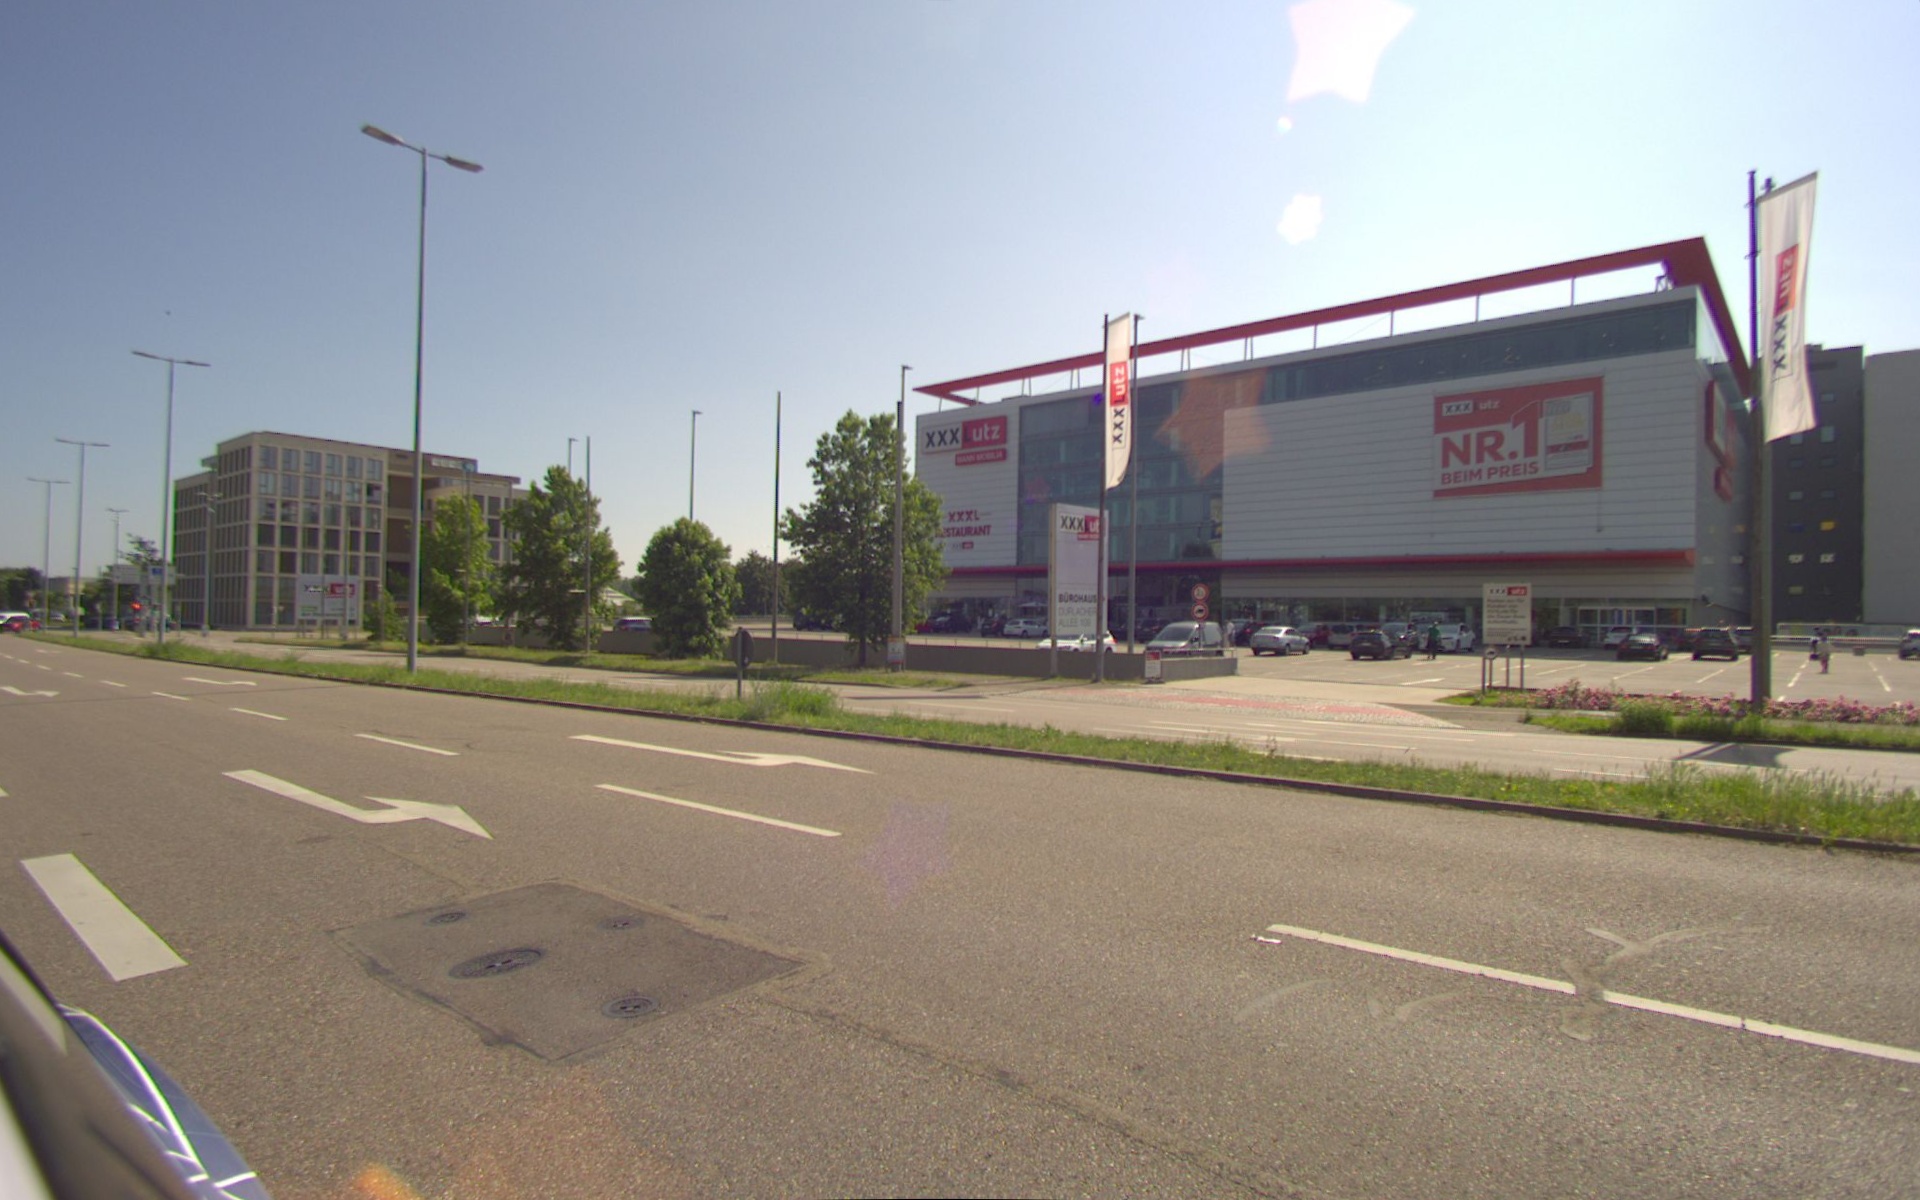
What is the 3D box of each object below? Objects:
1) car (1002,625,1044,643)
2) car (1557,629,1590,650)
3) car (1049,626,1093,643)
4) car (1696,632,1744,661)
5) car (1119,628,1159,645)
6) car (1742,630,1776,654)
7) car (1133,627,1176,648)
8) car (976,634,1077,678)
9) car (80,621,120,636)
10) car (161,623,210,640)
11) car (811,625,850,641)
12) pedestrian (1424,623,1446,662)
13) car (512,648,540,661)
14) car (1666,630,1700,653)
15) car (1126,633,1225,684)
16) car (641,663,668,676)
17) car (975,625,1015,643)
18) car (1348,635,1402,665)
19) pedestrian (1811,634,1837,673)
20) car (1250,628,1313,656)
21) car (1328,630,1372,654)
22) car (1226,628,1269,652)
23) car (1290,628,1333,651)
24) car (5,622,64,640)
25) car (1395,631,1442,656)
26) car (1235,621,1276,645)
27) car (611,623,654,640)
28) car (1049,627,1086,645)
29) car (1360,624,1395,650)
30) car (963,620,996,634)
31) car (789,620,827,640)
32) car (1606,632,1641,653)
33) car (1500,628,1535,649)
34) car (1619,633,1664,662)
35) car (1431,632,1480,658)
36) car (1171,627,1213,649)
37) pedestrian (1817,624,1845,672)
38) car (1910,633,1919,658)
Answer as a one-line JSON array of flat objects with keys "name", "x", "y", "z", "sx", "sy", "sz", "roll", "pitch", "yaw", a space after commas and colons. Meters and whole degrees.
[{"name": "car", "x": 4.761, "y": 2.571, "z": 76.553, "sx": 1.703, "sy": 1.340, "sz": 3.056, "roll": 0, "pitch": -1, "yaw": 40}, {"name": "car", "x": 39.557, "y": 2.512, "z": 65.222, "sx": 1.365, "sy": 1.276, "sz": 3.056, "roll": 0, "pitch": -1, "yaw": 40}, {"name": "car", "x": 8.088, "y": 2.514, "z": 73.456, "sx": 1.479, "sy": 1.208, "sz": 3.463, "roll": 0, "pitch": -1, "yaw": 40}, {"name": "car", "x": 38.495, "y": 2.335, "z": 51.225, "sx": 1.778, "sy": 1.340, "sz": 3.056, "roll": 0, "pitch": -1, "yaw": 40}, {"name": "car", "x": 13.270, "y": 2.701, "z": 75.133, "sx": 1.605, "sy": 1.237, "sz": 3.056, "roll": 0, "pitch": -1, "yaw": 40}, {"name": "car", "x": 46.939, "y": 2.470, "z": 59.434, "sx": 1.515, "sy": 1.340, "sz": 3.056, "roll": 0, "pitch": -1, "yaw": 40}, {"name": "car", "x": 13.086, "y": 2.514, "z": 67.934, "sx": 1.515, "sy": 1.303, "sz": 3.055, "roll": 0, "pitch": -1, "yaw": 40}, {"name": "car", "x": 2.711, "y": 2.174, "z": 40.314, "sx": 1.869, "sy": 1.640, "sz": 4.369, "roll": -1, "pitch": -2, "yaw": 39}, {"name": "car", "x": -121.767, "y": 4.083, "z": 143.321, "sx": 3.931, "sy": 2.029, "sz": 2.006, "roll": 2, "pitch": -2, "yaw": -28}, {"name": "car", "x": -88.978, "y": 3.578, "z": 116.265, "sx": 1.834, "sy": 1.903, "sz": 4.184, "roll": 0, "pitch": -1, "yaw": 42}, {"name": "car", "x": -11.167, "y": 2.858, "z": 87.363, "sx": 1.515, "sy": 1.340, "sz": 3.056, "roll": 0, "pitch": -1, "yaw": 40}, {"name": "pedestrian", "x": 23.159, "y": 2.066, "z": 49.373, "sx": 0.751, "sy": 1.872, "sz": 0.844, "roll": -2, "pitch": -4, "yaw": 41}, {"name": "car", "x": -36.925, "y": 4.640, "z": 86.164, "sx": 1.070, "sy": 0.983, "sz": 1.918, "roll": 0, "pitch": -1, "yaw": 39}, {"name": "car", "x": 44.606, "y": 2.562, "z": 62.419, "sx": 1.515, "sy": 1.340, "sz": 3.056, "roll": 0, "pitch": -1, "yaw": 40}, {"name": "car", "x": 8.474, "y": 2.237, "z": 39.591, "sx": 1.944, "sy": 1.856, "sz": 4.367, "roll": 0, "pitch": -2, "yaw": 41}, {"name": "car", "x": -26.428, "y": 5.981, "z": 87.521, "sx": 1.069, "sy": 0.983, "sz": 1.919, "roll": 0, "pitch": -1, "yaw": 37}, {"name": "car", "x": 2.758, "y": 2.659, "z": 78.760, "sx": 1.515, "sy": 1.340, "sz": 3.056, "roll": 0, "pitch": -1, "yaw": 40}, {"name": "car", "x": 19.886, "y": 2.348, "z": 48.432, "sx": 1.515, "sy": 1.340, "sz": 3.056, "roll": 0, "pitch": -1, "yaw": 40}, {"name": "pedestrian", "x": 45.428, "y": 2.828, "z": 53.212, "sx": 0.975, "sy": 2.029, "sz": 0.936, "roll": -2, "pitch": -4, "yaw": 42}, {"name": "car", "x": 16.614, "y": 2.156, "z": 52.152, "sx": 1.515, "sy": 1.340, "sz": 4.443, "roll": 0, "pitch": -1, "yaw": 40}, {"name": "car", "x": 23.164, "y": 2.462, "z": 60.038, "sx": 1.515, "sy": 1.340, "sz": 3.056, "roll": 0, "pitch": -1, "yaw": 40}, {"name": "car", "x": 16.452, "y": 2.275, "z": 57.921, "sx": 1.313, "sy": 1.340, "sz": 2.837, "roll": 0, "pitch": -1, "yaw": 40}, {"name": "car", "x": 21.753, "y": 2.423, "z": 62.538, "sx": 1.515, "sy": 1.340, "sz": 3.056, "roll": -1, "pitch": -2, "yaw": 40}, {"name": "car", "x": -93.921, "y": 3.138, "z": 102.720, "sx": 1.902, "sy": 1.724, "sz": 4.176, "roll": -1, "pitch": -2, "yaw": 39}, {"name": "car", "x": 26.099, "y": 2.464, "z": 57.518, "sx": 1.588, "sy": 1.340, "sz": 3.370, "roll": -2, "pitch": -3, "yaw": 40}, {"name": "car", "x": 20.661, "y": 2.323, "z": 70.624, "sx": 1.660, "sy": 1.642, "sz": 3.528, "roll": -1, "pitch": -2, "yaw": 36}, {"name": "car", "x": -21.195, "y": 2.030, "z": 65.572, "sx": 1.070, "sy": 1.067, "sz": 2.488, "roll": 0, "pitch": -1, "yaw": 39}, {"name": "car", "x": 8.513, "y": 2.851, "z": 80.046, "sx": 1.515, "sy": 1.340, "sz": 3.056, "roll": 0, "pitch": -1, "yaw": 40}, {"name": "car", "x": 26.399, "y": 2.333, "z": 63.935, "sx": 1.297, "sy": 1.570, "sz": 3.206, "roll": -1, "pitch": -2, "yaw": 36}, {"name": "car", "x": 1.840, "y": 2.577, "z": 96.149, "sx": 1.515, "sy": 1.340, "sz": 3.056, "roll": 0, "pitch": -1, "yaw": 40}, {"name": "car", "x": -13.933, "y": 2.741, "z": 92.692, "sx": 1.691, "sy": 1.771, "sz": 3.056, "roll": 0, "pitch": -1, "yaw": 40}, {"name": "car", "x": 41.403, "y": 2.615, "z": 63.123, "sx": 1.441, "sy": 1.234, "sz": 3.056, "roll": 0, "pitch": -1, "yaw": 40}, {"name": "car", "x": 37.334, "y": 2.559, "z": 67.754, "sx": 1.515, "sy": 1.340, "sz": 3.056, "roll": 0, "pitch": -1, "yaw": 40}, {"name": "car", "x": 33.567, "y": 2.297, "z": 49.831, "sx": 1.515, "sy": 1.340, "sz": 3.056, "roll": 0, "pitch": -1, "yaw": 40}, {"name": "car", "x": 27.842, "y": 2.498, "z": 56.797, "sx": 1.515, "sy": 1.340, "sz": 4.256, "roll": 0, "pitch": -1, "yaw": 40}, {"name": "car", "x": 15.377, "y": 2.501, "z": 66.983, "sx": 1.515, "sy": 1.340, "sz": 3.056, "roll": 0, "pitch": -1, "yaw": 40}, {"name": "pedestrian", "x": 35.512, "y": 1.960, "z": 41.279, "sx": 0.770, "sy": 1.909, "sz": 0.500, "roll": 2, "pitch": -3, "yaw": -18}, {"name": "car", "x": 52.304, "y": 2.452, "z": 54.284, "sx": 1.750, "sy": 1.340, "sz": 3.624, "roll": 0, "pitch": -1, "yaw": 40}]
